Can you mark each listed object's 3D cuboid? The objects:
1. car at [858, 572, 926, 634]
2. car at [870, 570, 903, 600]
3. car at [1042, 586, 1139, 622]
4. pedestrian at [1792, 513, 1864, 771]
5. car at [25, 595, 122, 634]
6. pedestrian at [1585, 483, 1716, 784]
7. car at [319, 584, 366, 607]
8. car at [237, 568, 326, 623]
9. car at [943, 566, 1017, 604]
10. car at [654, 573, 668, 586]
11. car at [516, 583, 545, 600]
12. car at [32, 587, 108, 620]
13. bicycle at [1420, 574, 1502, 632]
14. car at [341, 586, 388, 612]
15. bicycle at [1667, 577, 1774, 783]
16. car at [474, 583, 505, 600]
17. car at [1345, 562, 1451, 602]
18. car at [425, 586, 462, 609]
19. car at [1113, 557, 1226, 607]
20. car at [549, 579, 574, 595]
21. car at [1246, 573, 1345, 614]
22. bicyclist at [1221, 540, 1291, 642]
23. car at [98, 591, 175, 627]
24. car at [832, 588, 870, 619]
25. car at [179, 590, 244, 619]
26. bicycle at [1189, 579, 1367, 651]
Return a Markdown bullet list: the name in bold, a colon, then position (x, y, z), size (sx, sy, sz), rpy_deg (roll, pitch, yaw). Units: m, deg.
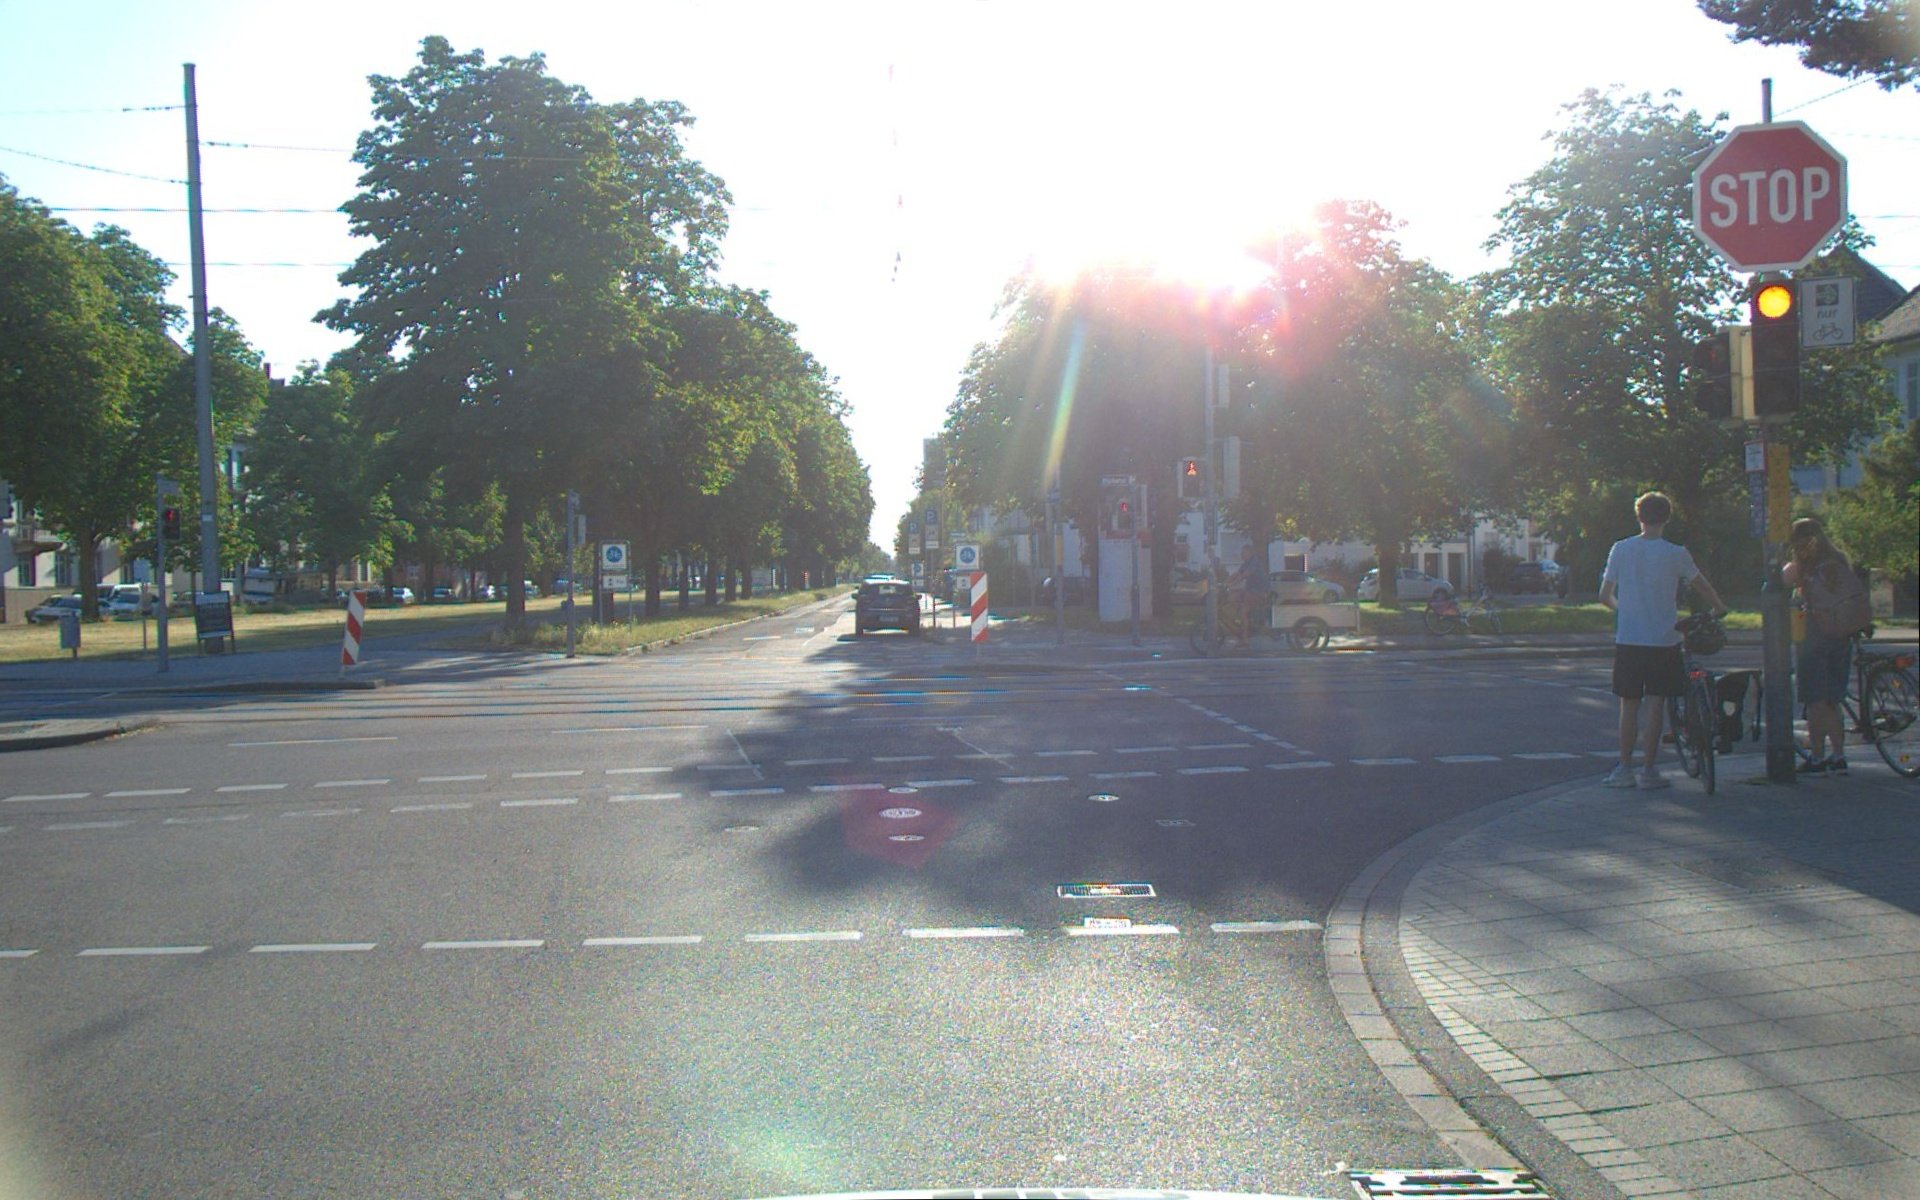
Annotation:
- **car**: position (-1.789, 0.087, 44.564), size (1.690, 1.537, 4.539), rpy_deg (1, 0, -1)
- **car**: position (-4.620, -0.967, 103.665), size (1.954, 1.812, 3.998), rpy_deg (1, 1, -3)
- **car**: position (5.559, 0.180, 70.682), size (3.907, 1.472, 1.715), rpy_deg (-1, 0, -3)
- **pedestrian**: position (5.572, 0.262, 10.630), size (0.342, 1.613, 0.462), rpy_deg (1, -1, 20)
- **car**: position (-40.147, 0.663, 75.024), size (1.953, 1.688, 4.569), rpy_deg (1, 0, -1)
- **pedestrian**: position (4.581, 0.216, 11.021), size (0.614, 1.899, 0.775), rpy_deg (-4, 0, 18)
- **car**: position (-46.996, -0.336, 125.960), size (1.953, 1.688, 4.373), rpy_deg (1, 0, -1)
- **car**: position (-41.063, -0.309, 100.376), size (2.344, 3.185, 7.850), rpy_deg (1, 1, -2)
- **car**: position (1.111, -0.829, 93.627), size (3.911, 1.854, 1.757), rpy_deg (-2, -5, -7)
- **car**: position (-45.740, -3.127, 253.348), size (1.621, 1.972, 3.565), rpy_deg (1, -1, -3)
- **car**: position (-43.309, -0.840, 166.888), size (1.982, 1.688, 3.982), rpy_deg (1, 0, -2)
- **car**: position (-45.958, 0.175, 85.482), size (1.681, 1.661, 4.190), rpy_deg (1, 0, -1)
- **bicycle**: position (9.974, 0.053, 32.948), size (1.489, 1.108, 0.468), rpy_deg (-1, 3, 7)
- **car**: position (-41.739, -0.061, 115.991), size (1.841, 1.703, 4.313), rpy_deg (1, 0, -2)
- **bicycle**: position (4.911, 0.459, 10.725), size (0.561, 1.204, 1.905), rpy_deg (1, 1, 24)
- **car**: position (-48.875, -0.903, 171.967), size (1.953, 1.688, 4.354), rpy_deg (1, 0, -1)
- **car**: position (17.533, -0.726, 66.249), size (3.847, 1.550, 1.521), rpy_deg (0, -1, -8)
- **car**: position (-42.484, -0.186, 136.159), size (1.775, 1.812, 4.121), rpy_deg (1, 0, -2)
- **car**: position (8.284, -0.704, 65.611), size (4.157, 1.908, 2.029), rpy_deg (-1, 0, -3)
- **car**: position (-44.866, -1.466, 186.252), size (1.954, 1.688, 4.568), rpy_deg (-1, 1, -3)
- **car**: position (13.266, -0.250, 65.433), size (3.487, 1.542, 1.602), rpy_deg (-1, 0, -8)
- **bicyclist**: position (5.262, -0.151, 29.475), size (1.120, 1.753, 0.875), rpy_deg (-2, 0, 6)
- **car**: position (-40.230, 0.421, 80.895), size (1.760, 1.581, 4.416), rpy_deg (1, 1, -4)
- **car**: position (-5.132, 0.173, 78.169), size (1.675, 1.383, 4.201), rpy_deg (1, 0, -2)
- **car**: position (-46.118, 0.284, 101.967), size (1.953, 1.688, 4.569), rpy_deg (1, 0, -1)
- **bicycle**: position (5.624, 0.267, 29.432), size (3.008, 1.182, 0.875), rpy_deg (-2, 0, 5)
